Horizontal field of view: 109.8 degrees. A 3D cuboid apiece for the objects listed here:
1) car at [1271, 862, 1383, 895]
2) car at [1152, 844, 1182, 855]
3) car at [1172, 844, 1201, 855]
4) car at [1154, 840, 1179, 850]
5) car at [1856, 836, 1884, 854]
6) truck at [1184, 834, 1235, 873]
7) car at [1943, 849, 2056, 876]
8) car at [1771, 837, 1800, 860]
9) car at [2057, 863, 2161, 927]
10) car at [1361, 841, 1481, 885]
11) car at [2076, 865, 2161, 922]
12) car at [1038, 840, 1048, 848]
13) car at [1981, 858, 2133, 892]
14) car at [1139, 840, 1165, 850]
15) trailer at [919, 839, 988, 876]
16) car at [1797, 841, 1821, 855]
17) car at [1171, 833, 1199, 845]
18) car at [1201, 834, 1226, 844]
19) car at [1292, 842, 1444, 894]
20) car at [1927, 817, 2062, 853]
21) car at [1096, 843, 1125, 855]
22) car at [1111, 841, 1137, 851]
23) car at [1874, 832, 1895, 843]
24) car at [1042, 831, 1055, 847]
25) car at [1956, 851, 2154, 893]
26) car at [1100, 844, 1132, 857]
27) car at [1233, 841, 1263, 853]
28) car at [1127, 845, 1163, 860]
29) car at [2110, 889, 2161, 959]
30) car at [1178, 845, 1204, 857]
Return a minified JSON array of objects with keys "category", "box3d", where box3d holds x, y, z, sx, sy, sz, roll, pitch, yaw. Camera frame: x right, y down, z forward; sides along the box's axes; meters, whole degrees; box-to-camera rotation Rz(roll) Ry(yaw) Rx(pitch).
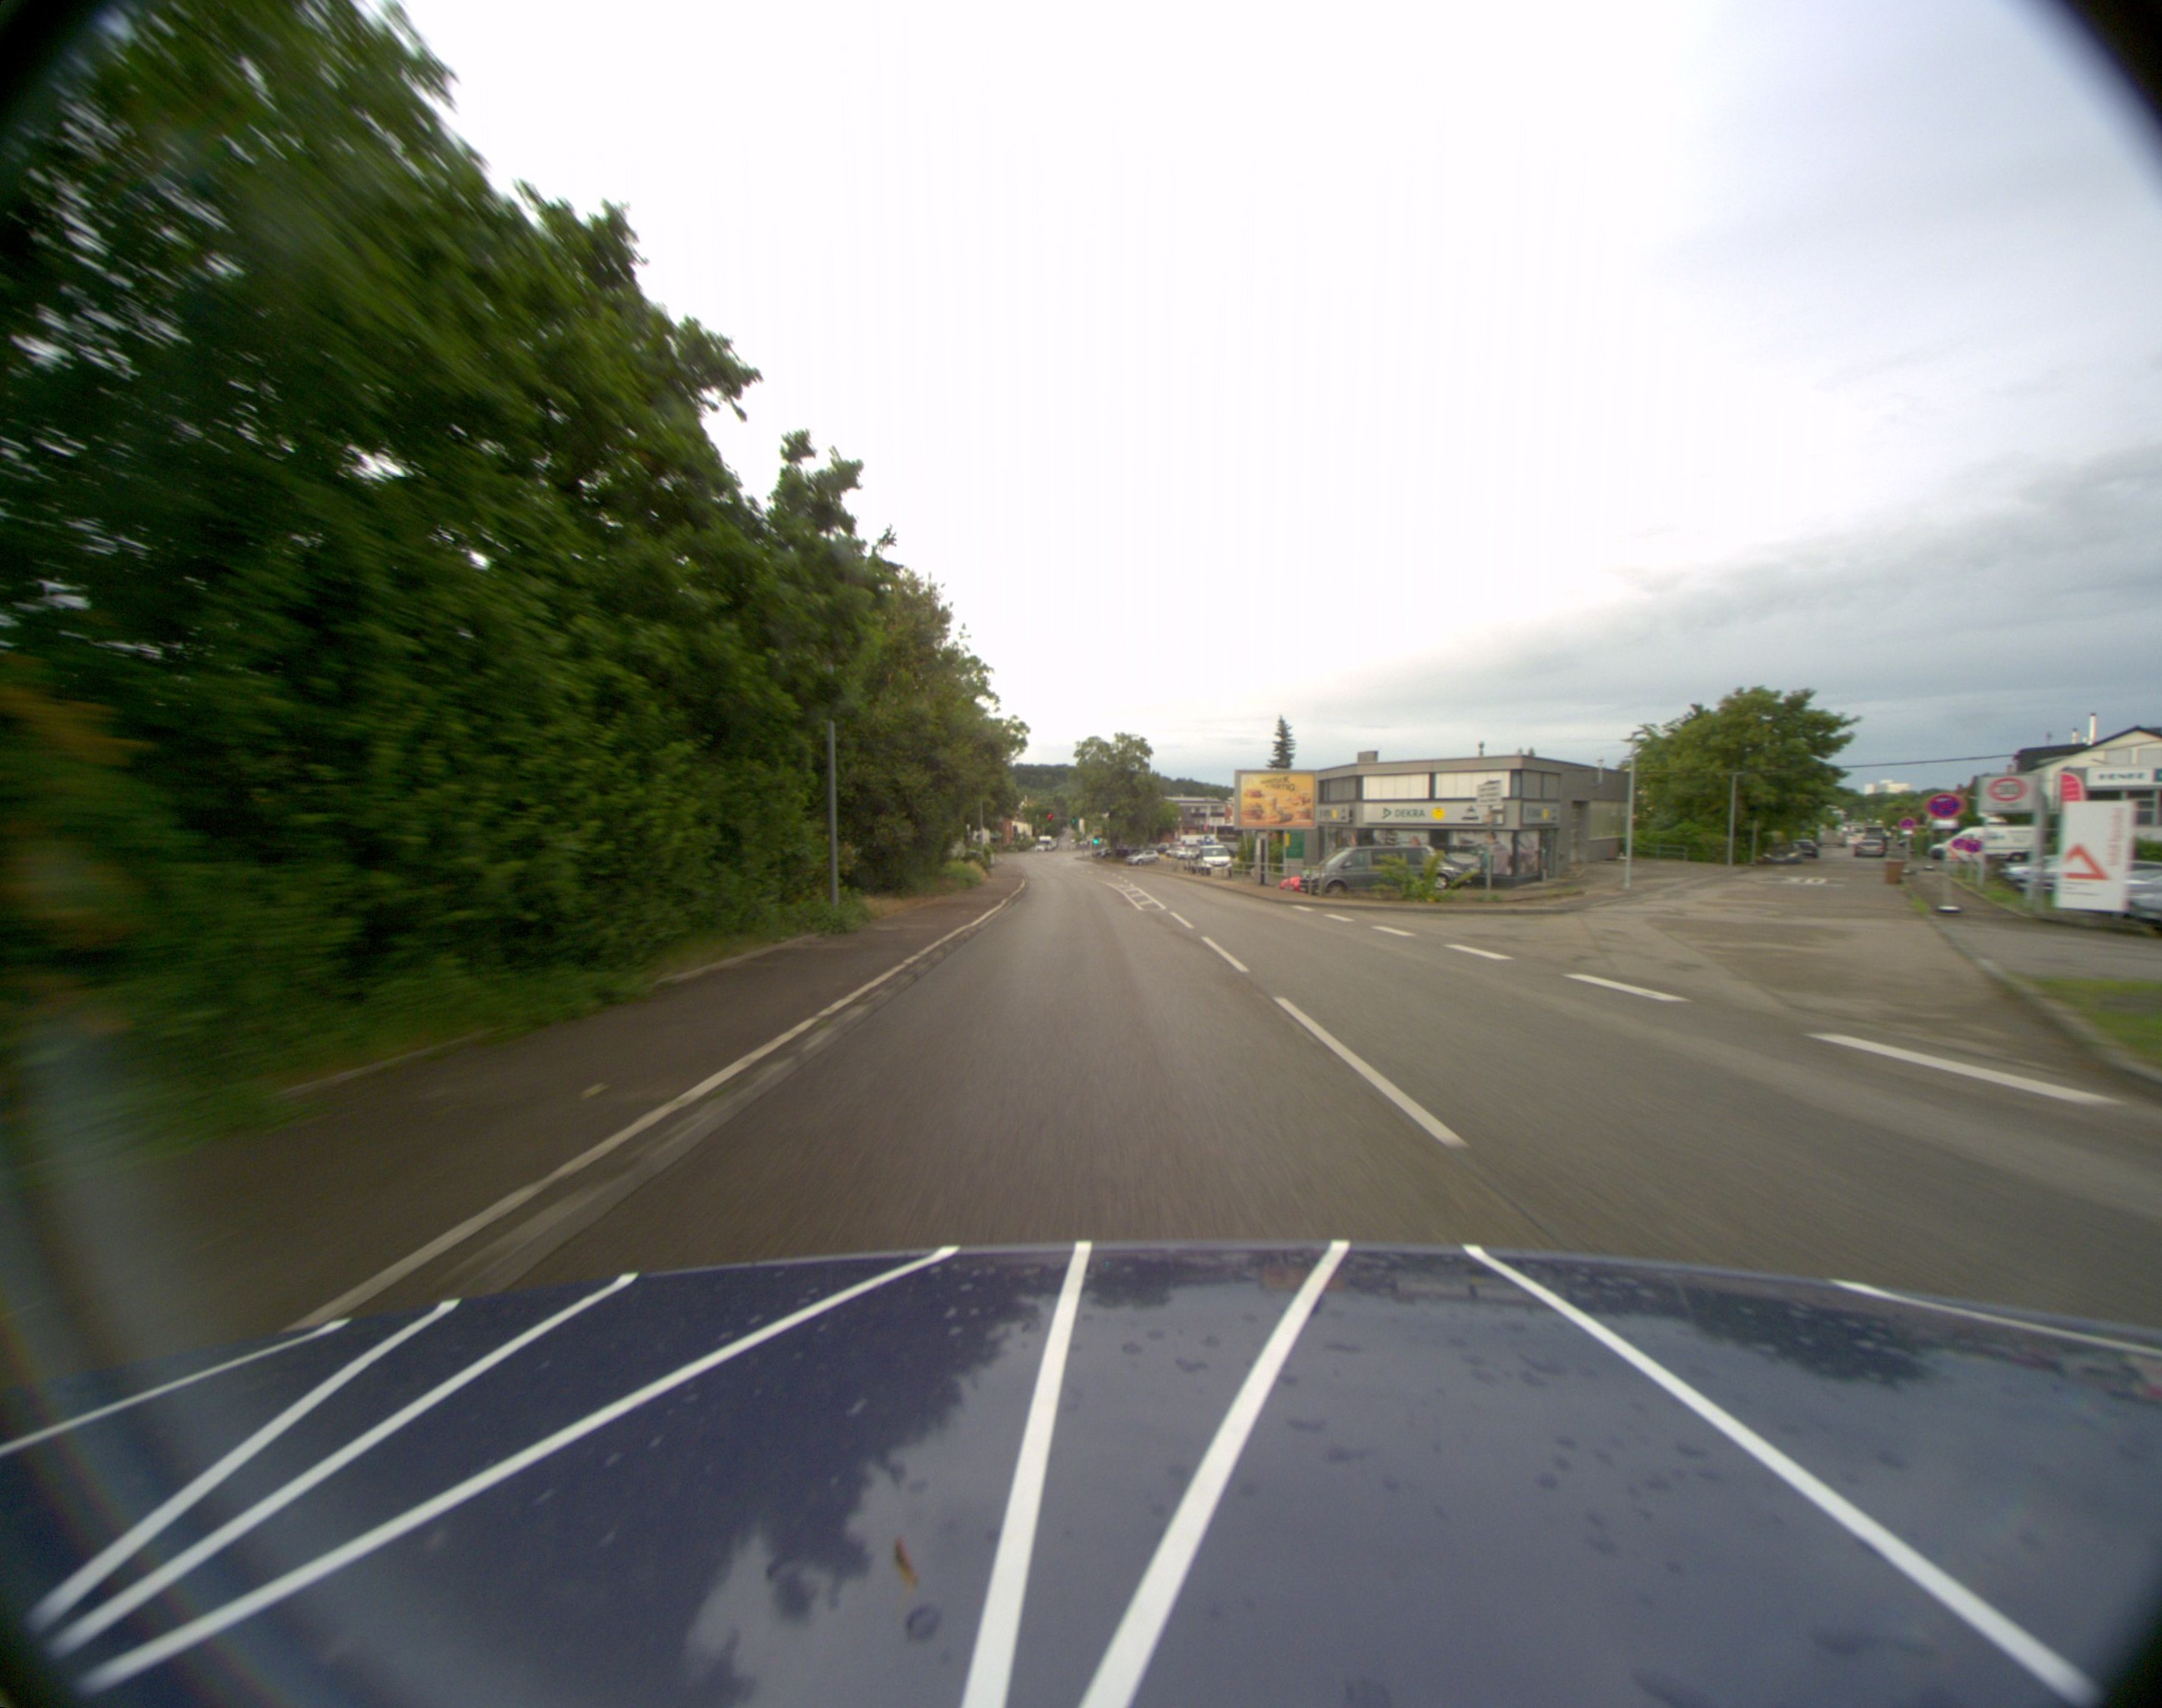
[{"category":"car","box3d":[10.250,1.010,31.757,4.106,1.260,1.767,0,1,-12]},{"category":"car","box3d":[12.181,-0.680,108.018,1.794,1.444,4.031,-2,3,-40]},{"category":"car","box3d":[15.084,-0.675,108.897,1.794,1.444,4.031,-2,3,-40]},{"category":"car","box3d":[13.561,-1.453,120.525,3.763,1.542,1.596,2,3,41]},{"category":"car","box3d":[68.068,-0.776,65.593,1.506,1.451,3.443,1,1,44]},{"category":"truck","box3d":[9.072,-0.110,54.493,1.999,2.618,7.889,0,1,-2]},{"category":"car","box3d":[42.875,0.384,35.533,3.055,1.181,1.384,0,1,26]},{"category":"car","box3d":[47.897,-0.394,51.630,1.401,1.538,3.222,1,1,44]},{"category":"car","box3d":[31.814,1.180,21.985,3.980,1.778,1.824,0,1,26]},{"category":"car","box3d":[16.246,0.412,36.533,2.004,1.976,4.863,-2,1,-41]},{"category":"car","box3d":[29.462,1.036,19.750,3.980,1.419,1.783,0,1,26]},{"category":"car","box3d":[-7.084,-1.833,142.271,1.770,1.460,3.997,0,2,-4]},{"category":"car","box3d":[40.128,0.838,31.363,3.492,1.281,1.593,0,1,26]},{"category":"car","box3d":[10.995,-1.424,118.290,3.763,1.542,1.596,2,3,41]},{"category":"trailer","box3d":[-8.856,0.183,52.579,4.551,2.387,1.946,-2,2,-14]},{"category":"car","box3d":[59.558,-0.488,62.207,1.377,1.181,3.069,1,1,44]},{"category":"car","box3d":[19.758,-2.842,144.350,5.266,2.075,2.047,0,2,-39]},{"category":"car","box3d":[26.030,-3.006,149.163,4.932,1.853,2.047,0,2,-39]},{"category":"car","box3d":[10.724,0.497,28.540,5.083,1.860,1.821,0,1,-7]},{"category":"car","box3d":[63.927,-1.320,53.389,2.151,2.356,5.861,-4,3,-44]},{"category":"car","box3d":[4.017,-0.723,102.603,3.768,1.559,1.671,0,2,-2]},{"category":"car","box3d":[6.455,-1.211,114.665,3.763,1.542,1.596,2,3,39]},{"category":"car","box3d":[87.877,-1.798,83.151,1.377,1.181,3.069,1,1,44]},{"category":"car","box3d":[-6.738,-3.161,159.104,2.575,2.759,6.122,1,5,-1]},{"category":"car","box3d":[35.110,0.596,27.565,3.980,1.419,1.847,0,1,26]},{"category":"car","box3d":[4.596,-0.476,100.071,3.896,1.559,1.671,0,2,-6]},{"category":"car","box3d":[23.867,-1.021,108.662,1.794,1.546,4.032,-1,3,-36]},{"category":"car","box3d":[7.335,-0.185,86.583,4.015,1.561,1.716,-3,3,-38]},{"category":"car","box3d":[25.100,1.532,15.723,4.095,1.419,1.893,0,1,26]},{"category":"car","box3d":[14.595,-0.455,100.615,1.785,1.501,4.051,2,3,33]}]
